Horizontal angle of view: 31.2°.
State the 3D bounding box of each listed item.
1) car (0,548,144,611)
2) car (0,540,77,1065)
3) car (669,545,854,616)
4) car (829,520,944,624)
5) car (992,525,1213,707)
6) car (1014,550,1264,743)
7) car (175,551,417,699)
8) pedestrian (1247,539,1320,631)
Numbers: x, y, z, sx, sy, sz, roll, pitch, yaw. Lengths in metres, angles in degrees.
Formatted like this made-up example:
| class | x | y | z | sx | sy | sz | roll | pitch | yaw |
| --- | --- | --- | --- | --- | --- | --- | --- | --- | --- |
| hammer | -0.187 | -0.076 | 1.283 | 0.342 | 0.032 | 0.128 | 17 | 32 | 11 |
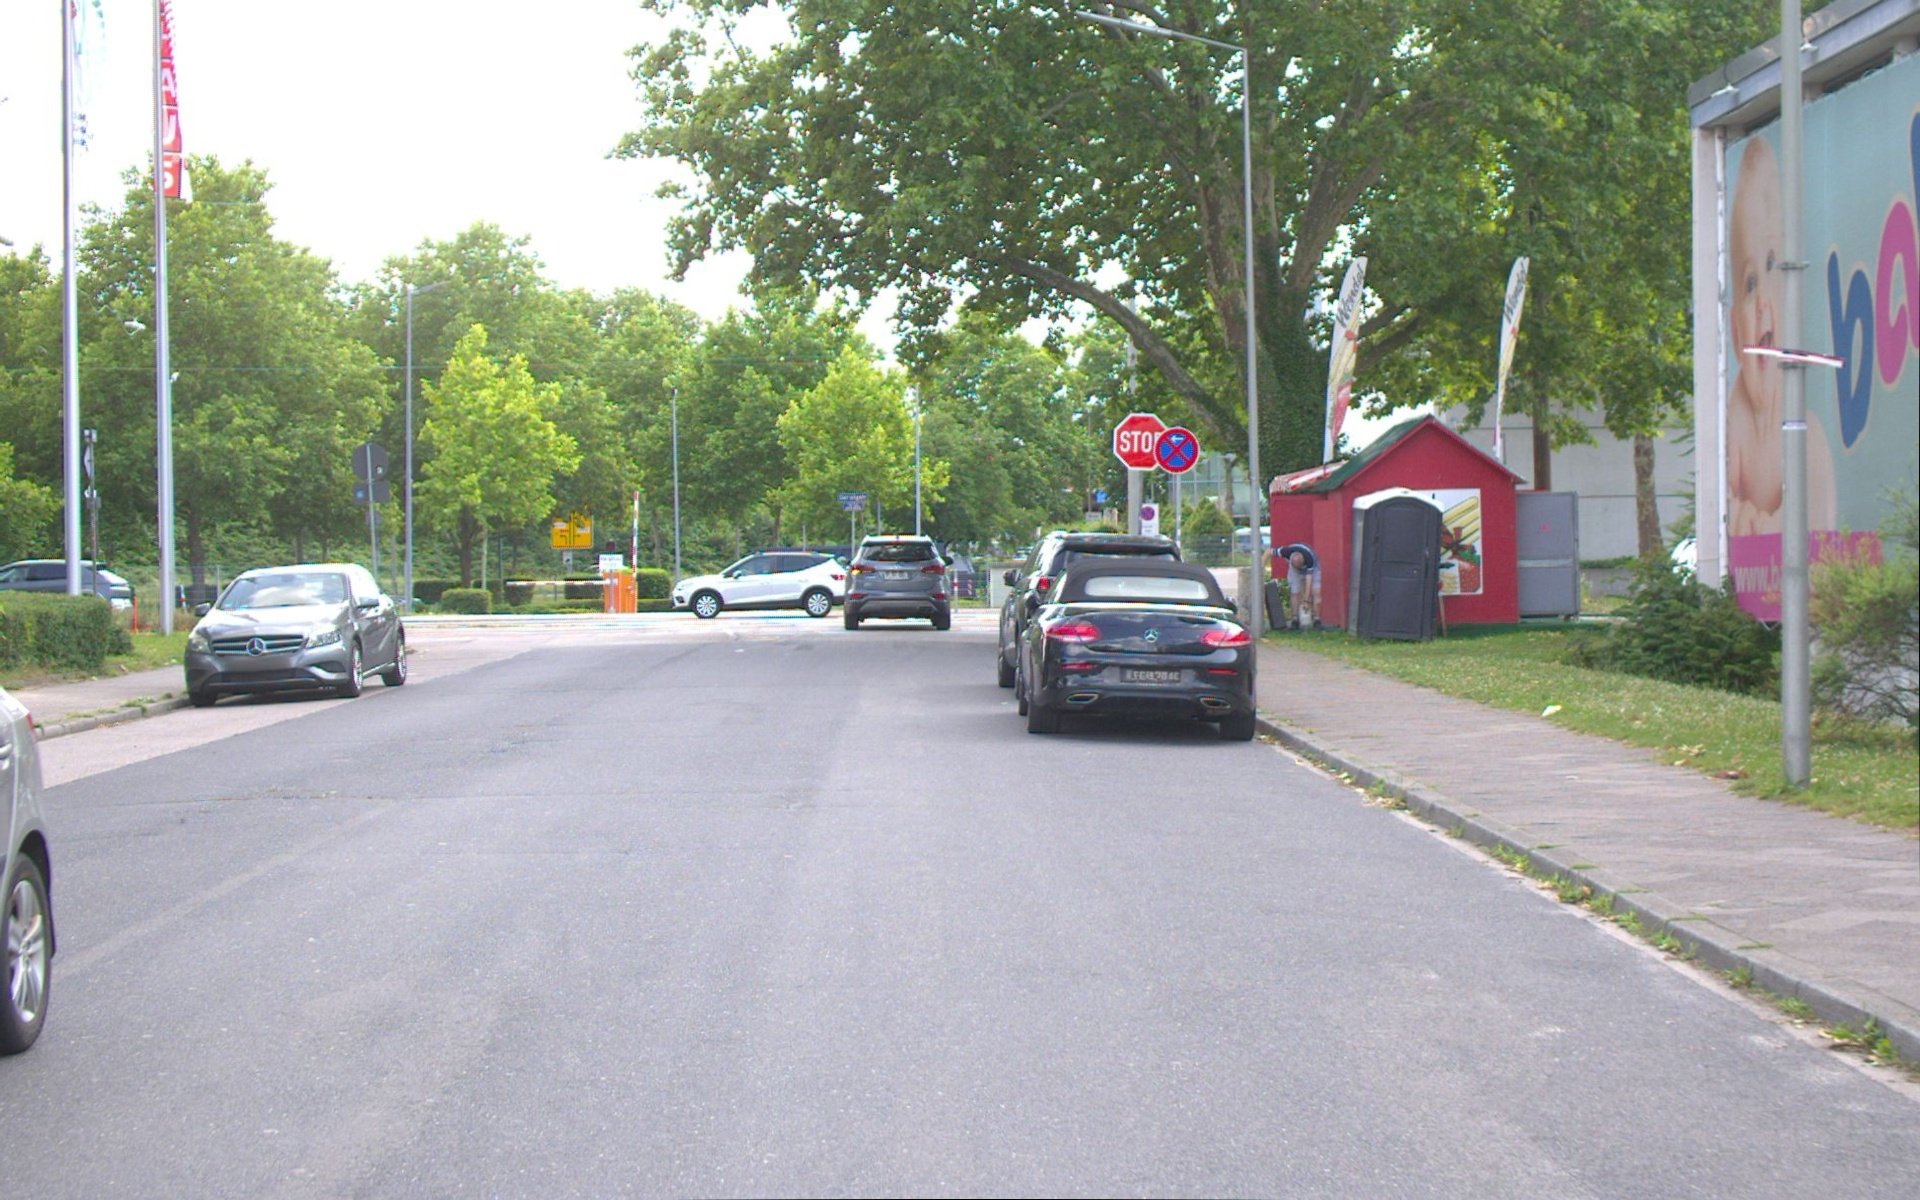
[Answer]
| class | x | y | z | sx | sy | sz | roll | pitch | yaw |
| --- | --- | --- | --- | --- | --- | --- | --- | --- | --- |
| car | -21.059 | -0.470 | 78.966 | 4.219 | 1.401 | 1.924 | 0 | 1 | -3 |
| car | -3.462 | 0.609 | 8.601 | 1.590 | 1.460 | 3.762 | -2 | 1 | -2 |
| car | -4.599 | -0.465 | 79.756 | 4.219 | 1.574 | 1.924 | 0 | 1 | -3 |
| car | -1.366 | -0.531 | 62.317 | 1.962 | 1.809 | 4.276 | 0 | 1 | -3 |
| car | 1.369 | 0.106 | 34.777 | 1.808 | 1.659 | 4.640 | 2 | 1 | -2 |
| car | 1.397 | 0.320 | 28.483 | 1.808 | 1.386 | 4.588 | 2 | 1 | 0 |
| car | -7.190 | 0.229 | 37.626 | 1.709 | 1.415 | 4.331 | -3 | 1 | 0 |
| pedestrian | 4.655 | -0.215 | 49.478 | 1.014 | 1.309 | 0.964 | 0 | 1 | 7 |
